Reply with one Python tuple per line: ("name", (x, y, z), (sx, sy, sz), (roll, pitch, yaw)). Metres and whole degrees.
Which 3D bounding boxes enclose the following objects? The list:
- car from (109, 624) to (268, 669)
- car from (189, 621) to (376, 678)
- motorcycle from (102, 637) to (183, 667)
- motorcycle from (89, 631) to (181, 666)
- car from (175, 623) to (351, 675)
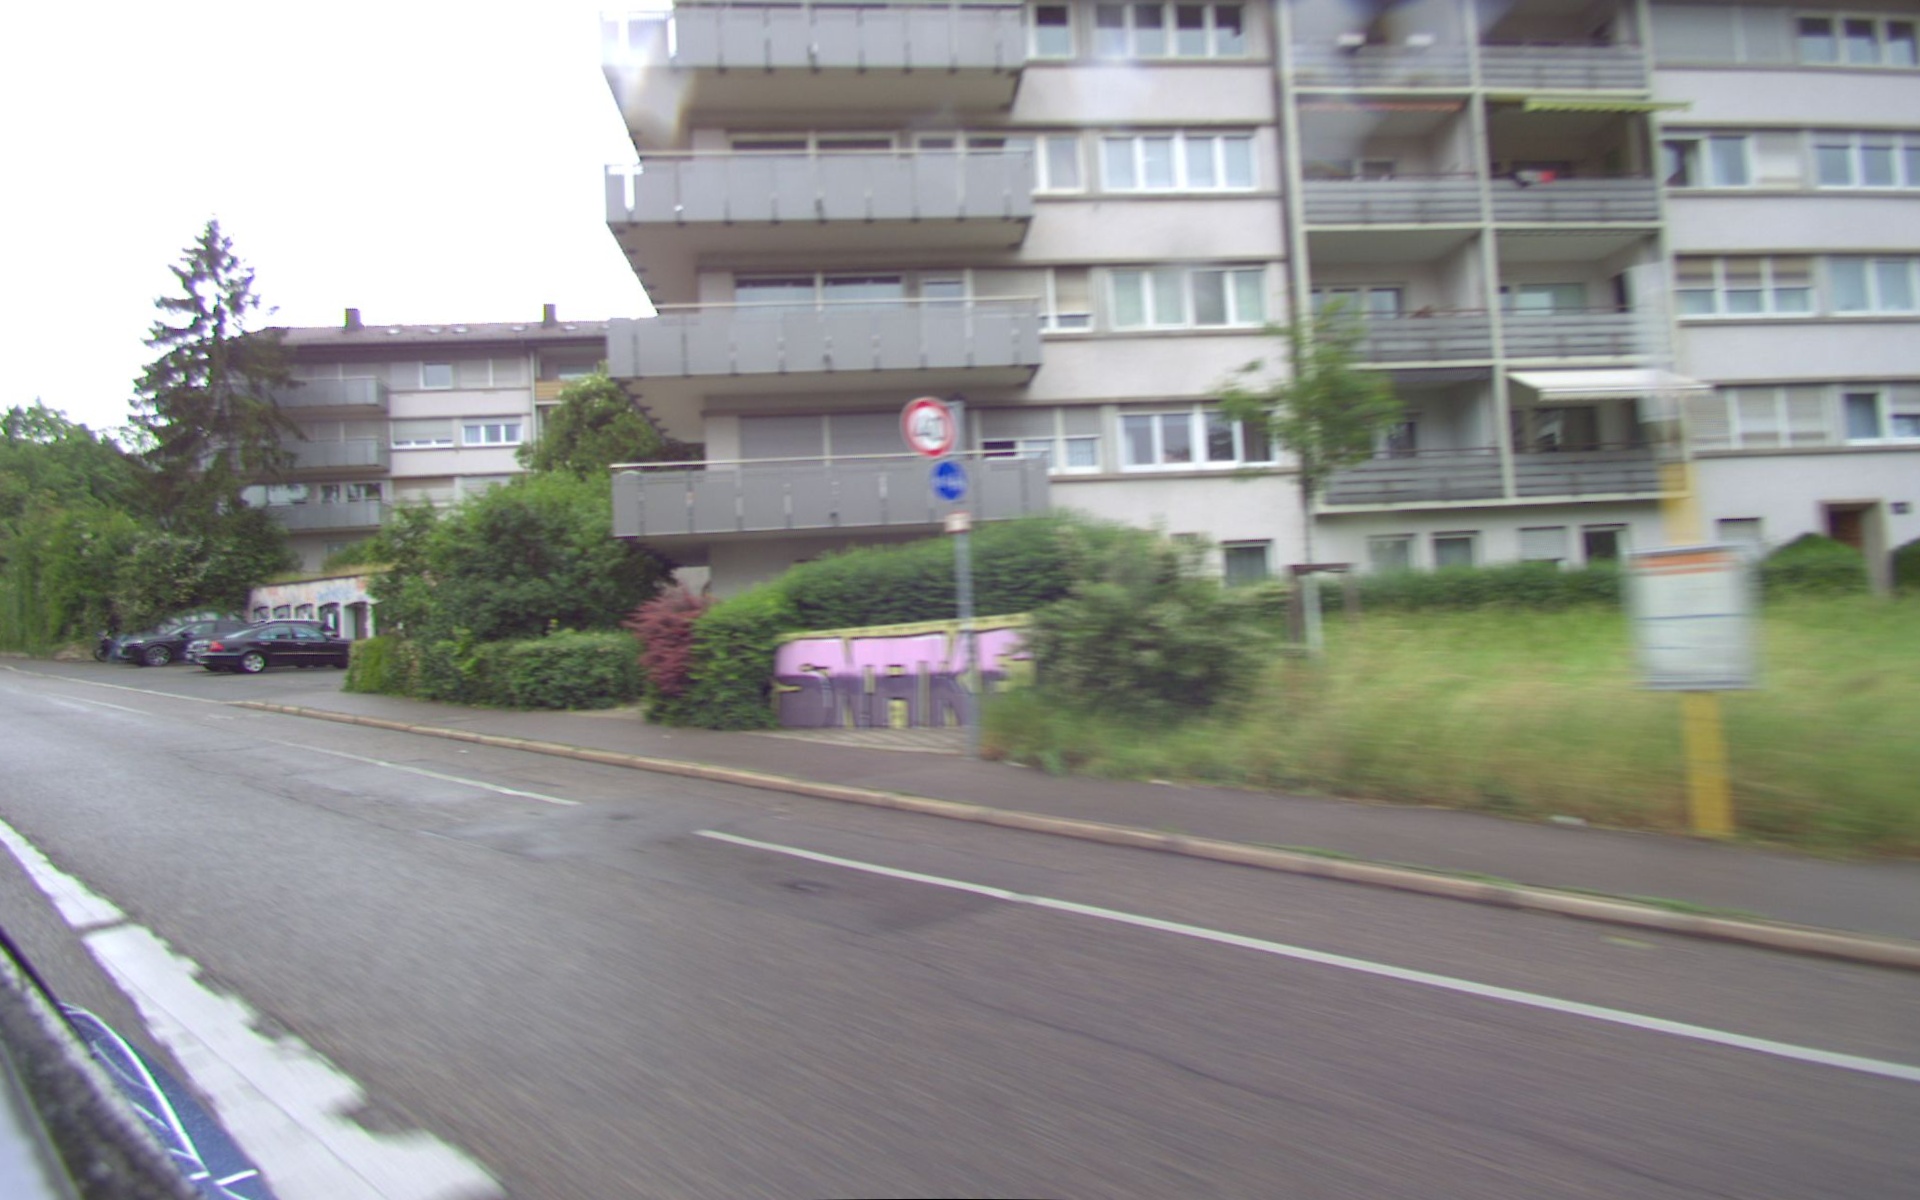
("car", (-28.380, 1.674, 37.342), (1.773, 1.539, 4.383), (-2, -2, 40))
("car", (-20.639, 1.455, 30.977), (1.847, 1.501, 4.439), (-1, 0, 41))
("motorcycle", (-31.995, 2.024, 39.615), (2.426, 1.117, 0.661), (0, -2, -43))
("motorcycle", (-33.250, 1.954, 40.866), (2.765, 1.282, 1.282), (0, -1, -35))
("car", (-22.360, 1.526, 32.618), (1.772, 1.539, 4.386), (-2, -2, 38))
